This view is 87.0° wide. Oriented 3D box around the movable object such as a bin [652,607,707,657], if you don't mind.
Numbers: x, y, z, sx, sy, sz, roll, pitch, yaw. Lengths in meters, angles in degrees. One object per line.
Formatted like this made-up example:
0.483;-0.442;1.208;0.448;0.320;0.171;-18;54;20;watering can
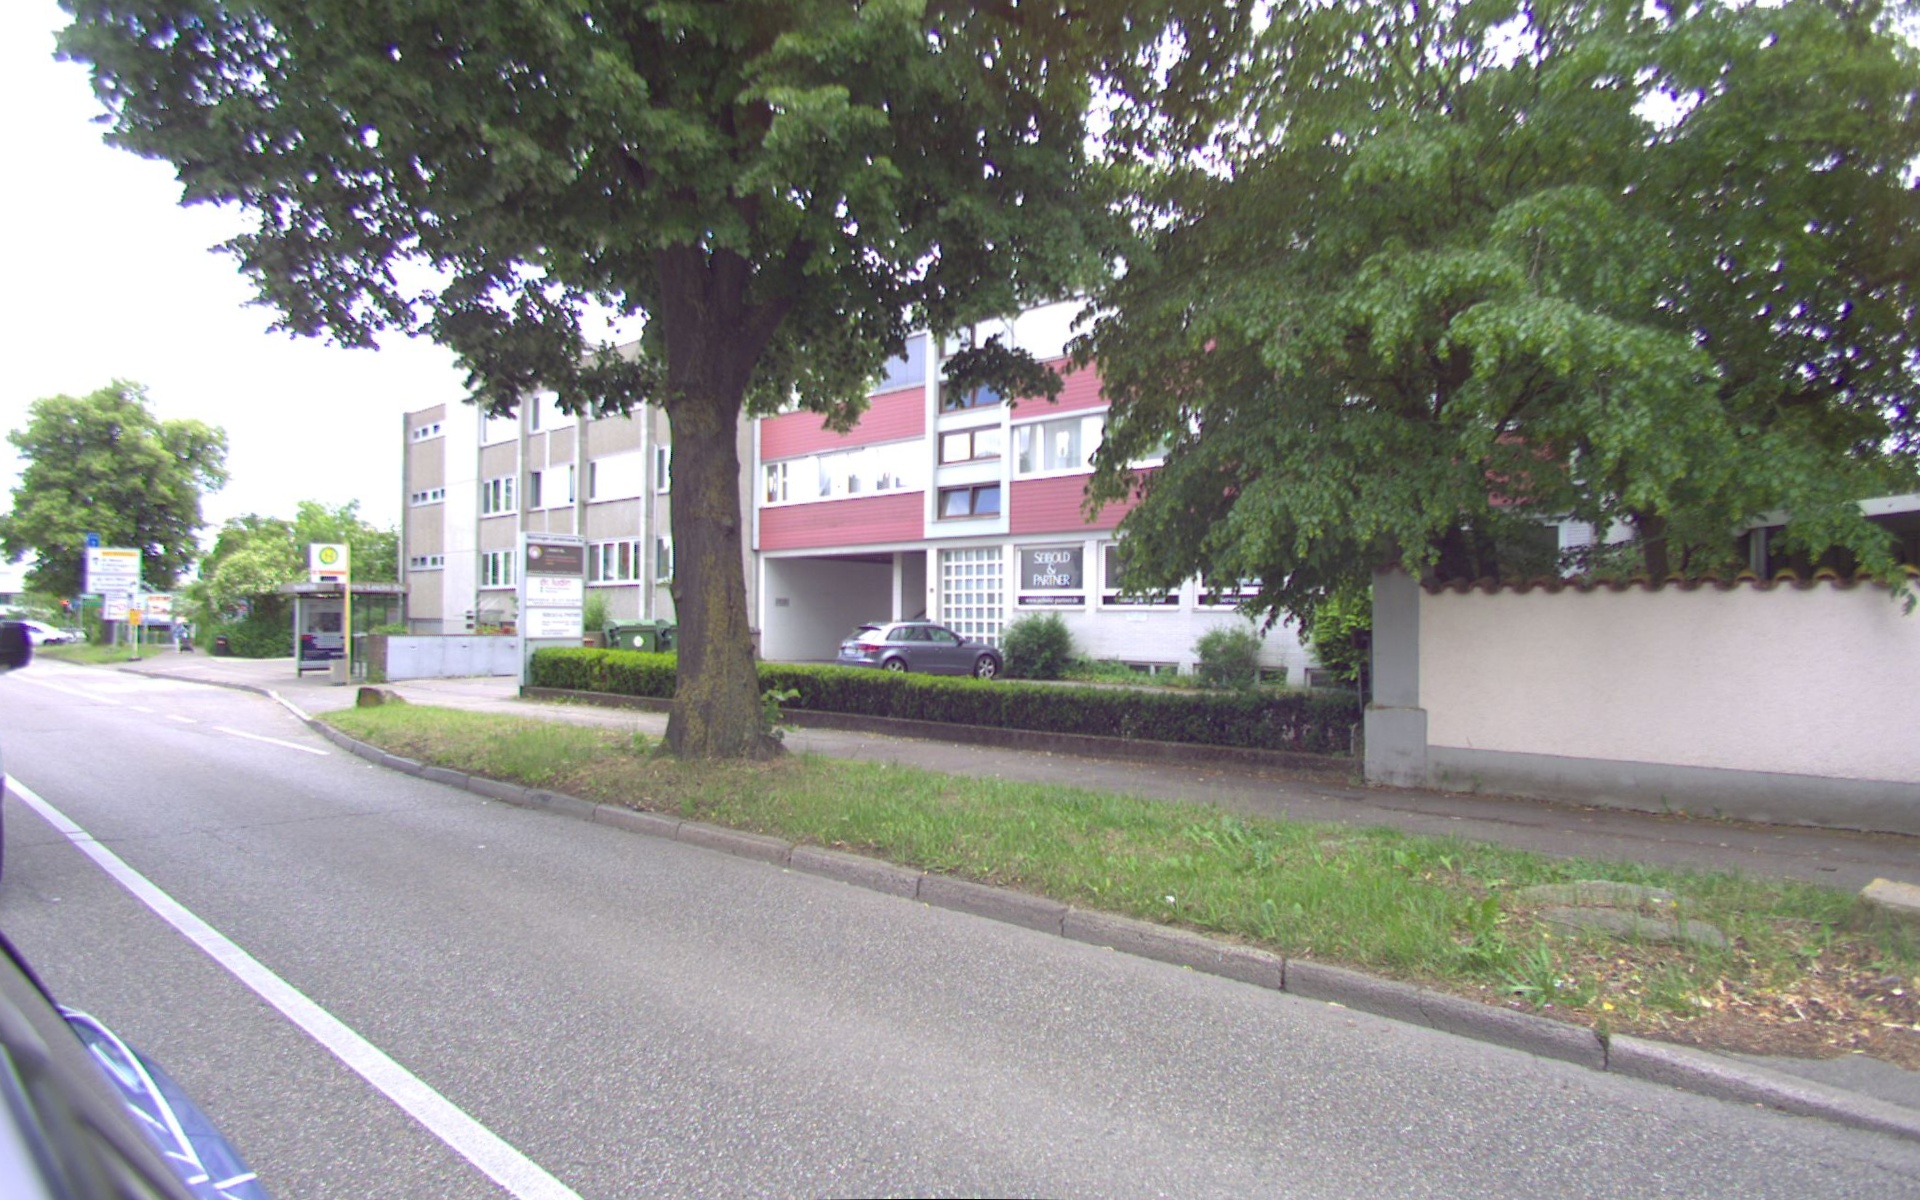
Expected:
-8.553;0.947;30.856;0.884;1.476;1.347;-1;-1;41;movable object such as a bin

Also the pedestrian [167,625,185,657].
-38.675;2.011;49.907;0.662;1.570;0.521;0;-1;-32;pedestrian

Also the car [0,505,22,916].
-7.413;0.564;6.024;5.710;1.987;1.974;-1;0;40;car

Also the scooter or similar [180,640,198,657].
-37.516;2.368;49.254;0.598;0.792;0.861;0;0;-32;scooter or similar

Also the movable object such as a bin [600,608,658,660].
-9.692;0.978;29.616;0.992;1.476;1.285;-1;-1;41;movable object such as a bin

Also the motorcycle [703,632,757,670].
-7.346;1.619;32.328;0.639;1.148;1.624;-1;-1;41;motorcycle
